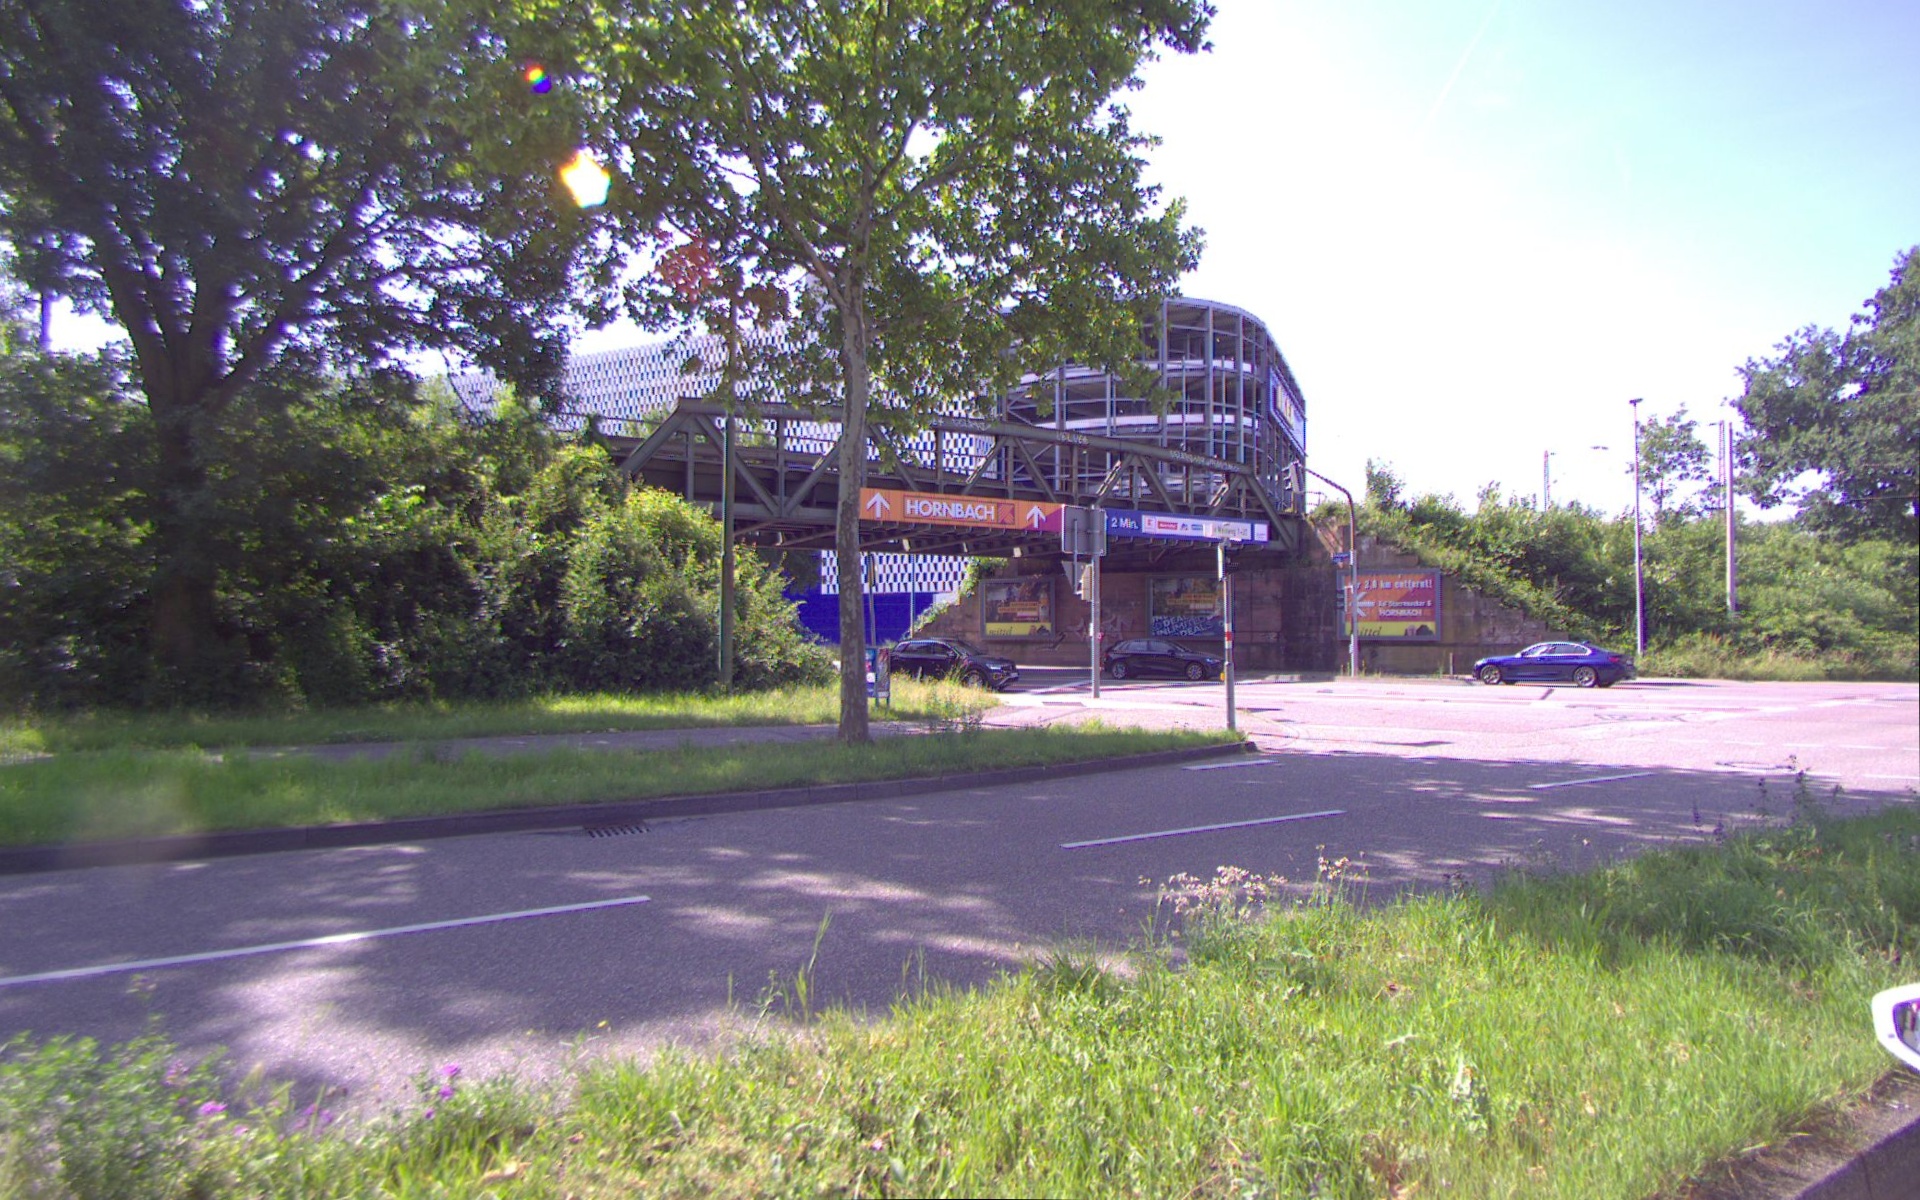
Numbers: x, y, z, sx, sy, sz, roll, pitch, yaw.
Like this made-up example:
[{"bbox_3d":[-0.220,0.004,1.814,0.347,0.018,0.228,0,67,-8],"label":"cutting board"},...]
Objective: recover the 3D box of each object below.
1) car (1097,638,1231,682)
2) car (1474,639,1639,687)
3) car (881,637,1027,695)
[{"bbox_3d":[7.022,2.023,34.566,4.253,1.413,1.770,-1,-2,25],"label":"car"},{"bbox_3d":[19.210,1.983,32.504,1.777,1.415,4.278,2,-3,-38],"label":"car"},{"bbox_3d":[-0.177,1.890,29.533,3.869,1.500,1.822,0,-2,25],"label":"car"}]
